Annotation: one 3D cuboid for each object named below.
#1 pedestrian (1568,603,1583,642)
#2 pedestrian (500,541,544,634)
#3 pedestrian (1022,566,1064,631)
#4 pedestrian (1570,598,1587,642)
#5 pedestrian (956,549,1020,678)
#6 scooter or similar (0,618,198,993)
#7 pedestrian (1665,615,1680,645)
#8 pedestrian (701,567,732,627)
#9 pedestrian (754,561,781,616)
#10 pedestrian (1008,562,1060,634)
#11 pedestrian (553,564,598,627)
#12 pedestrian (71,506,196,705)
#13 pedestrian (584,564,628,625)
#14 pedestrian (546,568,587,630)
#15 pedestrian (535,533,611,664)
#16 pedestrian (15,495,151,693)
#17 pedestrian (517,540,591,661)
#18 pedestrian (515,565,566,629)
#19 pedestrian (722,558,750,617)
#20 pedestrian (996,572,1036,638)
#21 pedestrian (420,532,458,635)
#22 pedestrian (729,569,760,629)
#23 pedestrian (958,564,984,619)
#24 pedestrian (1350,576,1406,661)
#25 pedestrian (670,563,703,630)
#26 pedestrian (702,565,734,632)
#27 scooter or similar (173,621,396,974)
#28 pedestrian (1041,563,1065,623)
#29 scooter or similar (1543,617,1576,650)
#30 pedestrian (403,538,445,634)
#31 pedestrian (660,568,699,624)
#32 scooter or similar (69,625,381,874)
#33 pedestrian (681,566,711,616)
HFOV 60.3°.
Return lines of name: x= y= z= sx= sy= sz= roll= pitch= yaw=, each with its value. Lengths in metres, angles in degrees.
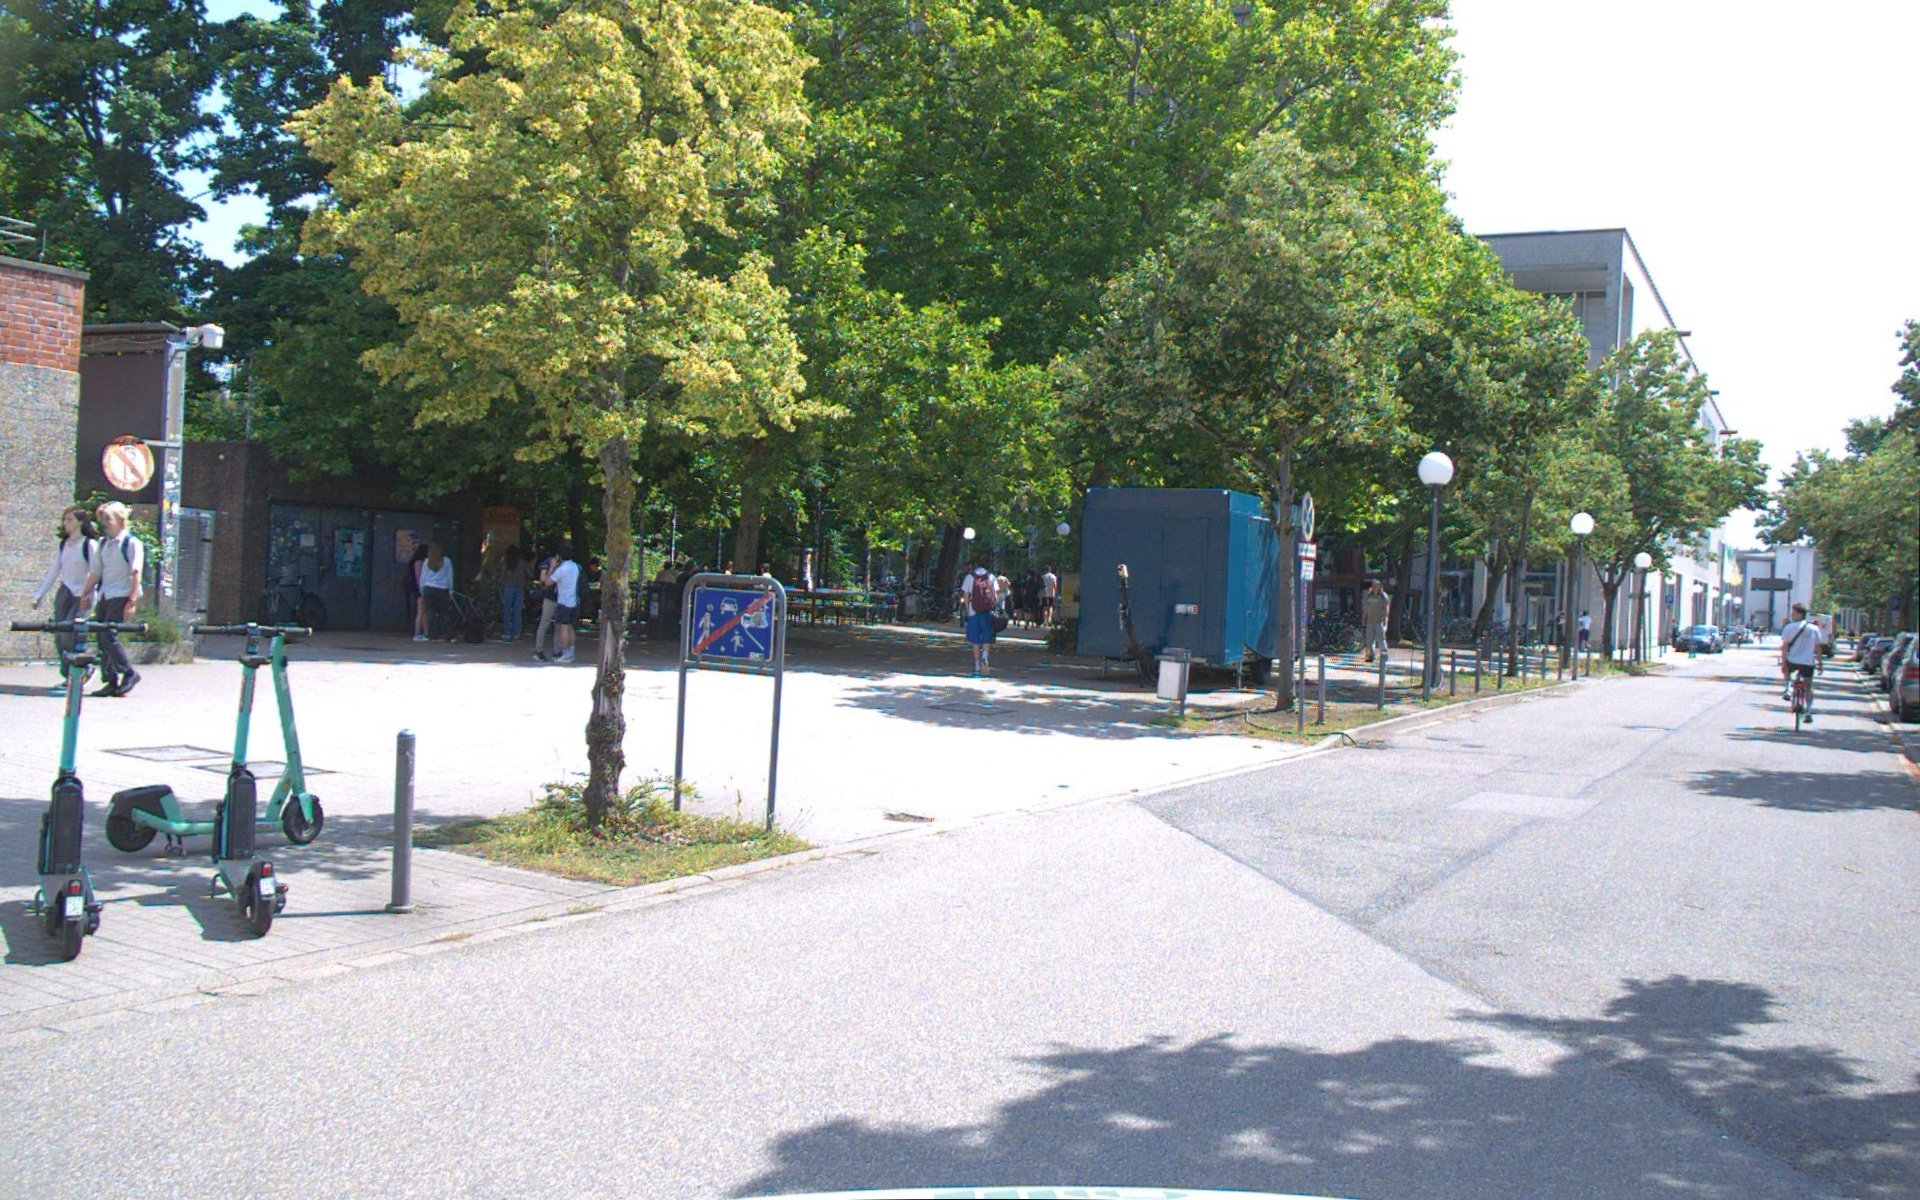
pedestrian: x=28.843 y=1.050 z=77.463 sx=0.432 sy=1.806 sz=0.451 roll=3 pitch=1 yaw=-2
pedestrian: x=-8.124 y=-0.233 z=30.671 sx=0.664 sy=1.679 sz=0.502 roll=3 pitch=2 yaw=-11
pedestrian: x=2.644 y=-0.055 z=52.632 sx=0.906 sy=1.981 sz=0.886 roll=4 pitch=1 yaw=-24
pedestrian: x=28.469 y=0.898 z=76.151 sx=0.404 sy=1.975 sz=0.663 roll=3 pitch=1 yaw=-1
pedestrian: x=0.424 y=0.190 z=25.146 sx=0.834 sy=1.867 sz=0.878 roll=3 pitch=2 yaw=-2
scooter or similar: x=-3.505 y=0.736 z=6.594 sx=0.558 sy=1.246 sz=1.556 roll=3 pitch=0 yaw=-34
pedestrian: x=42.826 y=1.812 z=99.396 sx=0.636 sy=1.731 sz=0.890 roll=4 pitch=1 yaw=18
pedestrian: x=-5.369 y=-0.068 z=36.528 sx=0.582 sy=1.254 sz=0.742 roll=3 pitch=2 yaw=-6
pedestrian: x=-5.123 y=-0.305 z=44.121 sx=0.495 sy=1.447 sz=0.460 roll=3 pitch=1 yaw=18
pedestrian: x=2.145 y=-0.057 z=48.217 sx=1.107 sy=1.981 sz=0.886 roll=4 pitch=1 yaw=-24
pedestrian: x=-8.157 y=-0.090 z=35.101 sx=0.549 sy=1.293 sz=0.692 roll=4 pitch=1 yaw=29
pedestrian: x=-7.735 y=0.052 z=15.492 sx=0.552 sy=1.792 sz=0.804 roll=3 pitch=0 yaw=27
pedestrian: x=-7.692 y=-0.114 z=35.954 sx=0.549 sy=1.293 sz=0.692 roll=4 pitch=1 yaw=29
pedestrian: x=-8.699 y=-0.026 z=36.536 sx=0.633 sy=1.346 sz=0.558 roll=3 pitch=0 yaw=30
pedestrian: x=-5.636 y=-0.018 z=24.097 sx=0.870 sy=1.852 sz=0.444 roll=4 pitch=-2 yaw=-34
pedestrian: x=-8.314 y=-0.057 z=15.707 sx=0.564 sy=1.810 sz=0.916 roll=3 pitch=0 yaw=27
pedestrian: x=-6.072 y=0.017 z=24.733 sx=0.870 sy=1.750 sz=0.484 roll=4 pitch=-2 yaw=-34
pedestrian: x=-9.017 y=-0.068 z=35.571 sx=0.675 sy=1.346 sz=0.777 roll=3 pitch=0 yaw=30
pedestrian: x=-6.012 y=-0.342 z=44.434 sx=0.495 sy=1.549 sz=0.474 roll=3 pitch=1 yaw=18
pedestrian: x=1.760 y=0.154 z=52.201 sx=0.809 sy=1.981 sz=0.846 roll=4 pitch=1 yaw=-24
pedestrian: x=-9.000 y=-0.291 z=28.563 sx=0.520 sy=1.740 sz=0.446 roll=3 pitch=2 yaw=-16
pedestrian: x=-4.760 y=-0.031 z=36.544 sx=0.582 sy=1.254 sz=0.742 roll=3 pitch=2 yaw=-6
pedestrian: x=0.341 y=-0.261 z=52.641 sx=0.616 sy=1.699 sz=0.731 roll=3 pitch=1 yaw=10
pedestrian: x=10.314 y=0.457 z=40.785 sx=0.903 sy=1.988 sz=0.888 roll=6 pitch=1 yaw=38
pedestrian: x=-5.962 y=-0.080 z=36.073 sx=0.582 sy=1.392 sz=0.703 roll=3 pitch=2 yaw=-6
pedestrian: x=-5.226 y=-0.034 z=35.797 sx=0.582 sy=1.392 sz=0.742 roll=3 pitch=2 yaw=-6
scooter or similar: x=-2.880 y=0.756 z=6.969 sx=0.518 sy=1.246 sz=1.557 roll=3 pitch=0 yaw=-34
pedestrian: x=3.062 y=-0.227 z=54.717 sx=0.579 sy=1.937 sz=0.515 roll=2 pitch=0 yaw=-18
scooter or similar: x=23.199 y=1.303 z=64.023 sx=1.308 sy=1.196 sz=0.337 roll=3 pitch=1 yaw=-27
pedestrian: x=-9.377 y=-0.250 z=28.943 sx=0.594 sy=1.620 sz=0.411 roll=3 pitch=2 yaw=-14
pedestrian: x=-6.598 y=-0.095 z=38.902 sx=0.557 sy=1.272 sz=0.767 roll=3 pitch=1 yaw=17
scooter or similar: x=-3.801 y=0.738 z=8.627 sx=0.554 sy=1.169 sz=1.342 roll=3 pitch=0 yaw=40
pedestrian: x=-6.618 y=-0.230 z=41.480 sx=0.383 sy=1.215 sz=0.731 roll=3 pitch=1 yaw=19
